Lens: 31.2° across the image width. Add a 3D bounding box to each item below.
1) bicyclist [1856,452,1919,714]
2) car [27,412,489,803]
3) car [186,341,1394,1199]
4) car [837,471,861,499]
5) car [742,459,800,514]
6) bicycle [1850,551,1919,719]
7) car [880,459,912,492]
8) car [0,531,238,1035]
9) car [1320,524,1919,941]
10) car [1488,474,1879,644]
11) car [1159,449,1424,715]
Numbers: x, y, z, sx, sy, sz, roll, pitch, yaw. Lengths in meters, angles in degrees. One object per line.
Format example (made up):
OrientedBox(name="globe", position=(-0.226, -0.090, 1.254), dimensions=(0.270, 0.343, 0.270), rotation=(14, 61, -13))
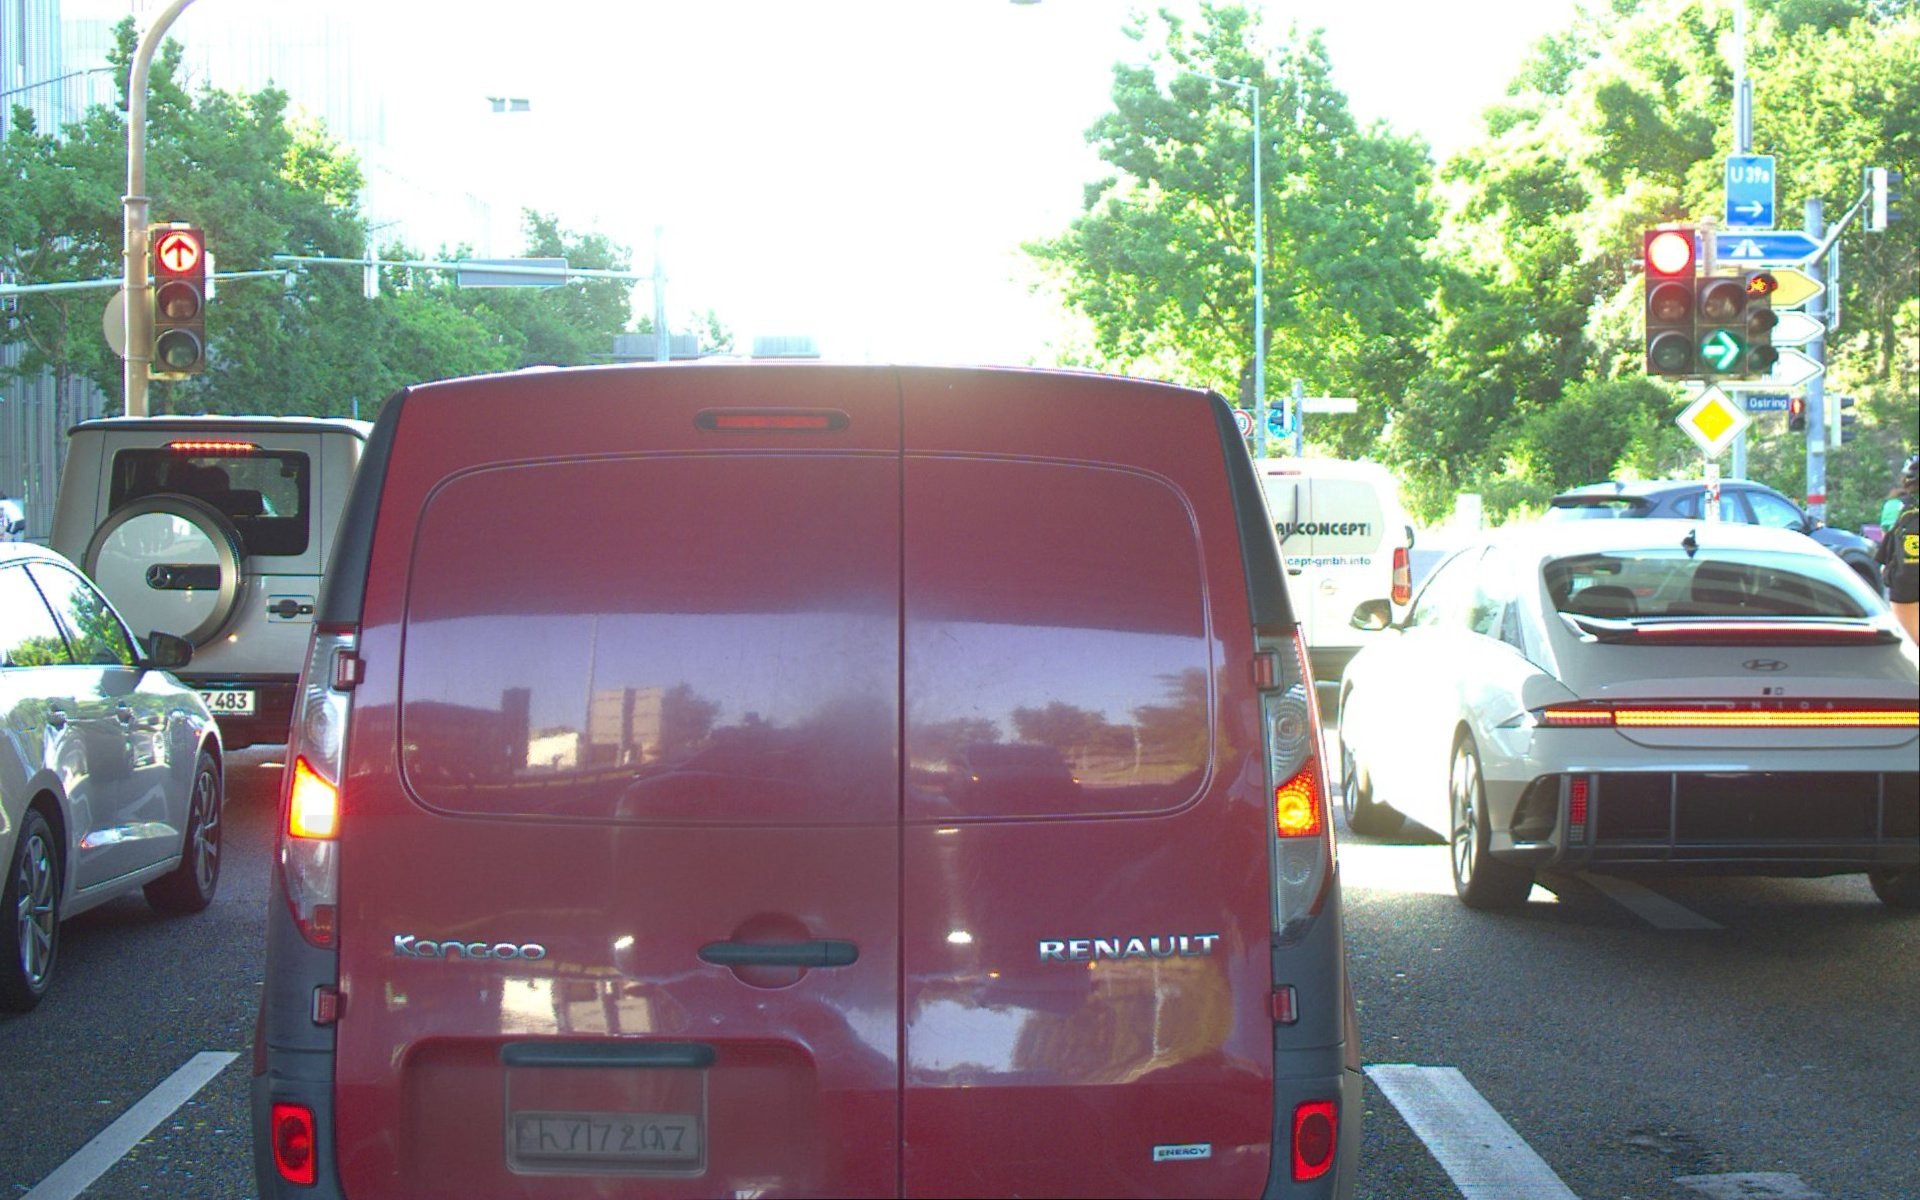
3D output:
OrientedBox(name="bicyclist", position=(6.054, -0.106, 21.718), dimensions=(0.677, 1.623, 0.644), rotation=(1, 0, 10))
OrientedBox(name="car", position=(-3.708, -0.001, 18.790), dimensions=(1.813, 1.897, 3.814), rotation=(1, 1, -1))
OrientedBox(name="car", position=(-0.271, 0.478, 6.942), dimensions=(1.719, 1.758, 4.000), rotation=(1, 1, -1))
OrientedBox(name="car", position=(-8.434, -8.697, 260.970), dimensions=(1.748, 2.007, 3.845), rotation=(1, 1, -1))
OrientedBox(name="car", position=(-7.194, -4.313, 131.162), dimensions=(1.993, 2.007, 4.000), rotation=(1, 1, -1))
OrientedBox(name="bicycle", position=(6.053, 0.212, 21.750), dimensions=(0.677, 1.020, 1.528), rotation=(1, 1, 10))
OrientedBox(name="car", position=(-4.086, -7.994, 220.643), dimensions=(1.993, 2.007, 4.000), rotation=(1, 1, -1))
OrientedBox(name="car", position=(-3.606, 0.476, 11.485), dimensions=(1.692, 1.405, 3.814), rotation=(1, 1, -2))
OrientedBox(name="car", position=(2.726, 0.420, 14.420), dimensions=(1.745, 1.451, 4.665), rotation=(1, 1, -2))
OrientedBox(name="car", position=(7.327, -0.395, 34.626), dimensions=(4.096, 1.617, 1.810), rotation=(1, 1, -43))
OrientedBox(name="car", position=(2.493, -0.194, 26.104), dimensions=(1.814, 1.827, 4.300), rotation=(1, 2, 5))
